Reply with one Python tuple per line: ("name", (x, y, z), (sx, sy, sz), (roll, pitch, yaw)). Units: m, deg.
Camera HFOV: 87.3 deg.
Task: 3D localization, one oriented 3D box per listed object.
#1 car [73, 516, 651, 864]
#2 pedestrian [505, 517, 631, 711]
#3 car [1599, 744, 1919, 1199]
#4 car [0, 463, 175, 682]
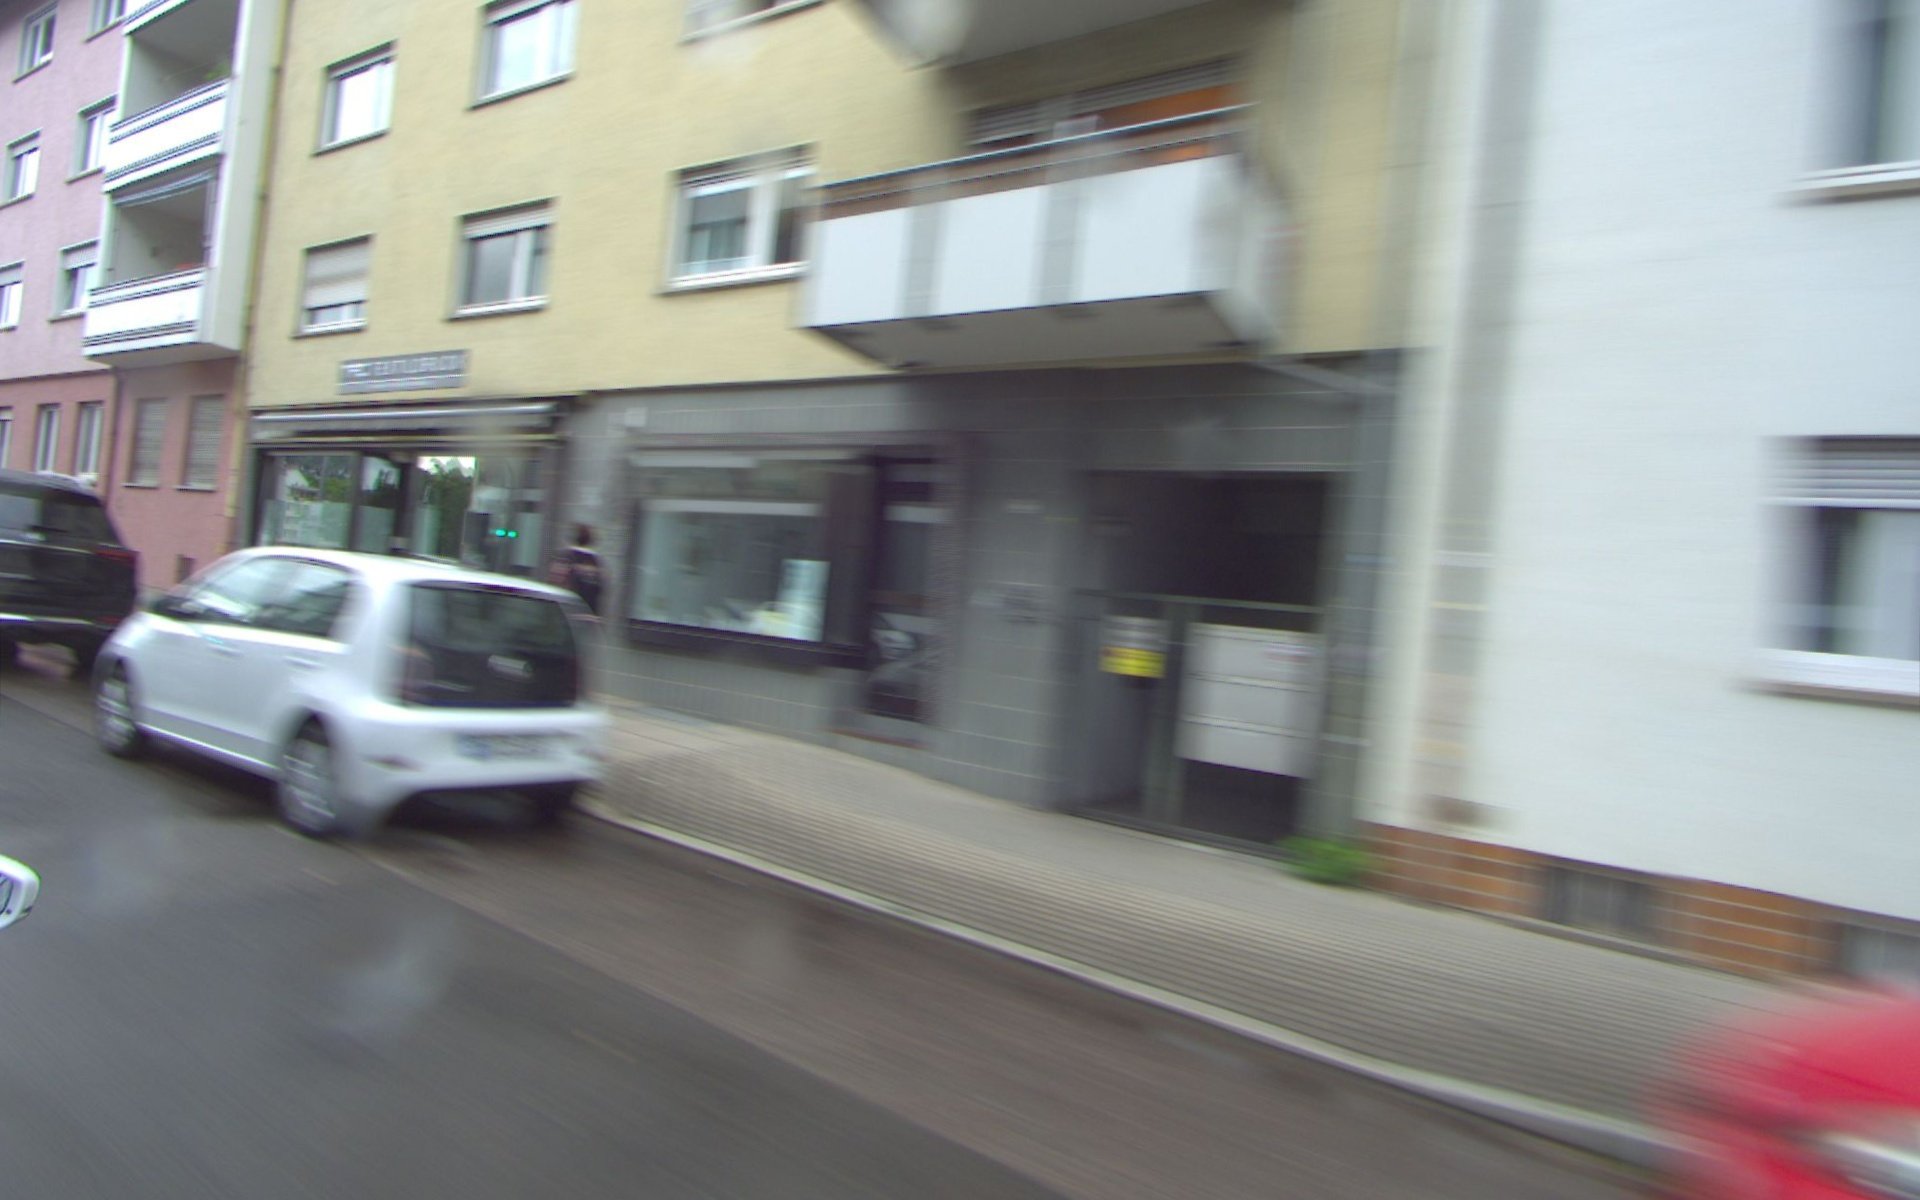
("car", (-3.869, 0.445, 6.413), (3.426, 1.473, 1.630), (7, -2, 32))
("pedestrian", (-3.883, 0.134, 9.982), (0.735, 1.796, 0.714), (7, 2, 31))
("car", (3.363, 1.321, 1.900), (3.425, 1.473, 1.630), (7, -2, 31))
("car", (-9.845, -0.454, 9.751), (4.437, 1.795, 1.967), (7, -1, 32))
